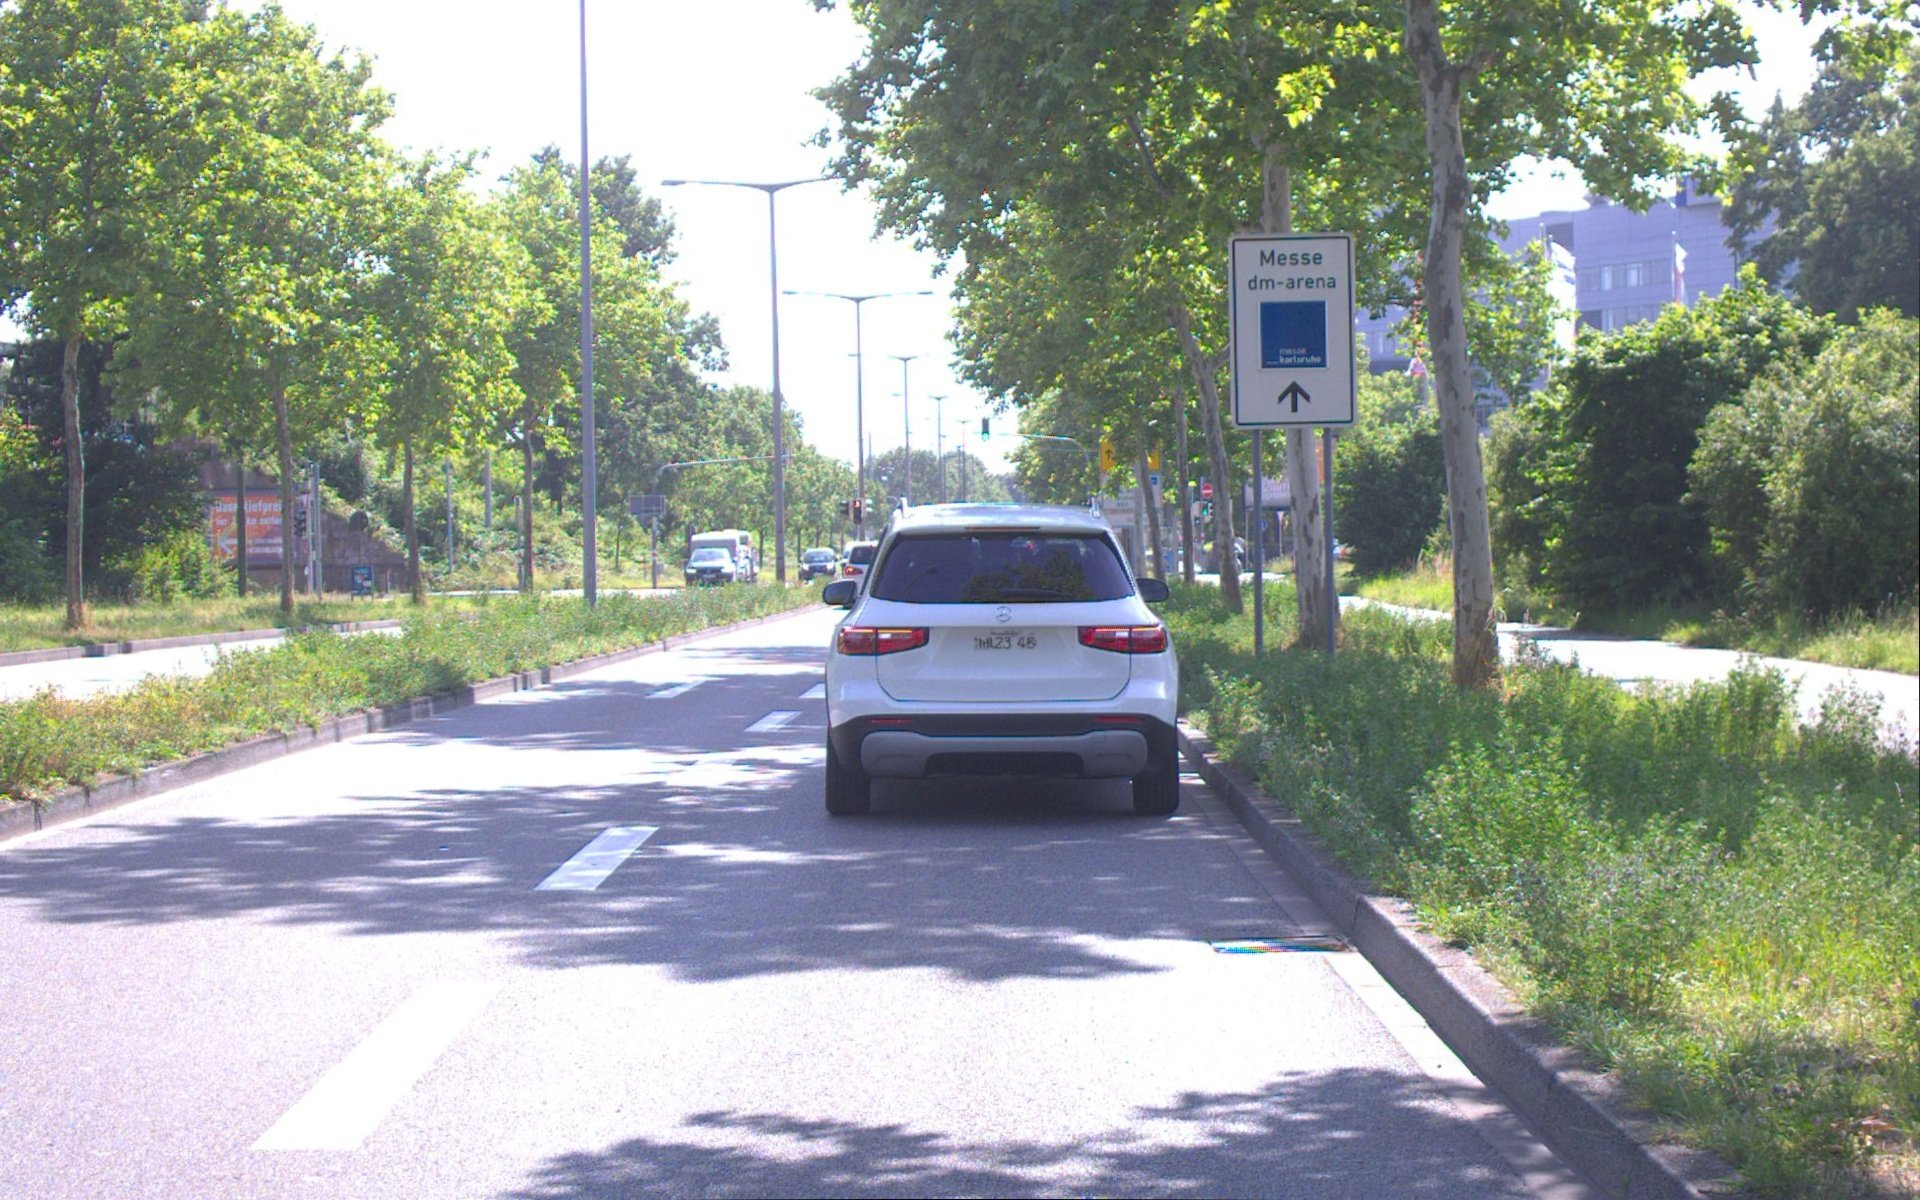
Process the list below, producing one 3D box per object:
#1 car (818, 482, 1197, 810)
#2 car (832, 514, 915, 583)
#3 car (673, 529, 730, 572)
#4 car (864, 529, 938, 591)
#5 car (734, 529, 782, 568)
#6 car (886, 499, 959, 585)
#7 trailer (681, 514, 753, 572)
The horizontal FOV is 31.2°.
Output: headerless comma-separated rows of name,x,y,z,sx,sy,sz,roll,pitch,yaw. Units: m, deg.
car,0.160,0.203,18.948,1.853,1.602,4.000,1,1,-2
car,-2.090,-1.249,83.907,1.771,1.641,4.352,0,1,2
car,-9.974,-1.906,132.945,1.715,1.616,4.361,0,1,2
car,-1.571,-1.086,93.014,1.771,1.641,4.084,0,1,2
car,-9.523,-2.415,162.314,1.764,1.783,5.375,1,1,2
car,-1.161,-1.844,109.258,2.081,2.647,4.874,1,1,2
trailer,-9.723,-2.261,137.885,2.309,2.257,5.538,0,1,2
